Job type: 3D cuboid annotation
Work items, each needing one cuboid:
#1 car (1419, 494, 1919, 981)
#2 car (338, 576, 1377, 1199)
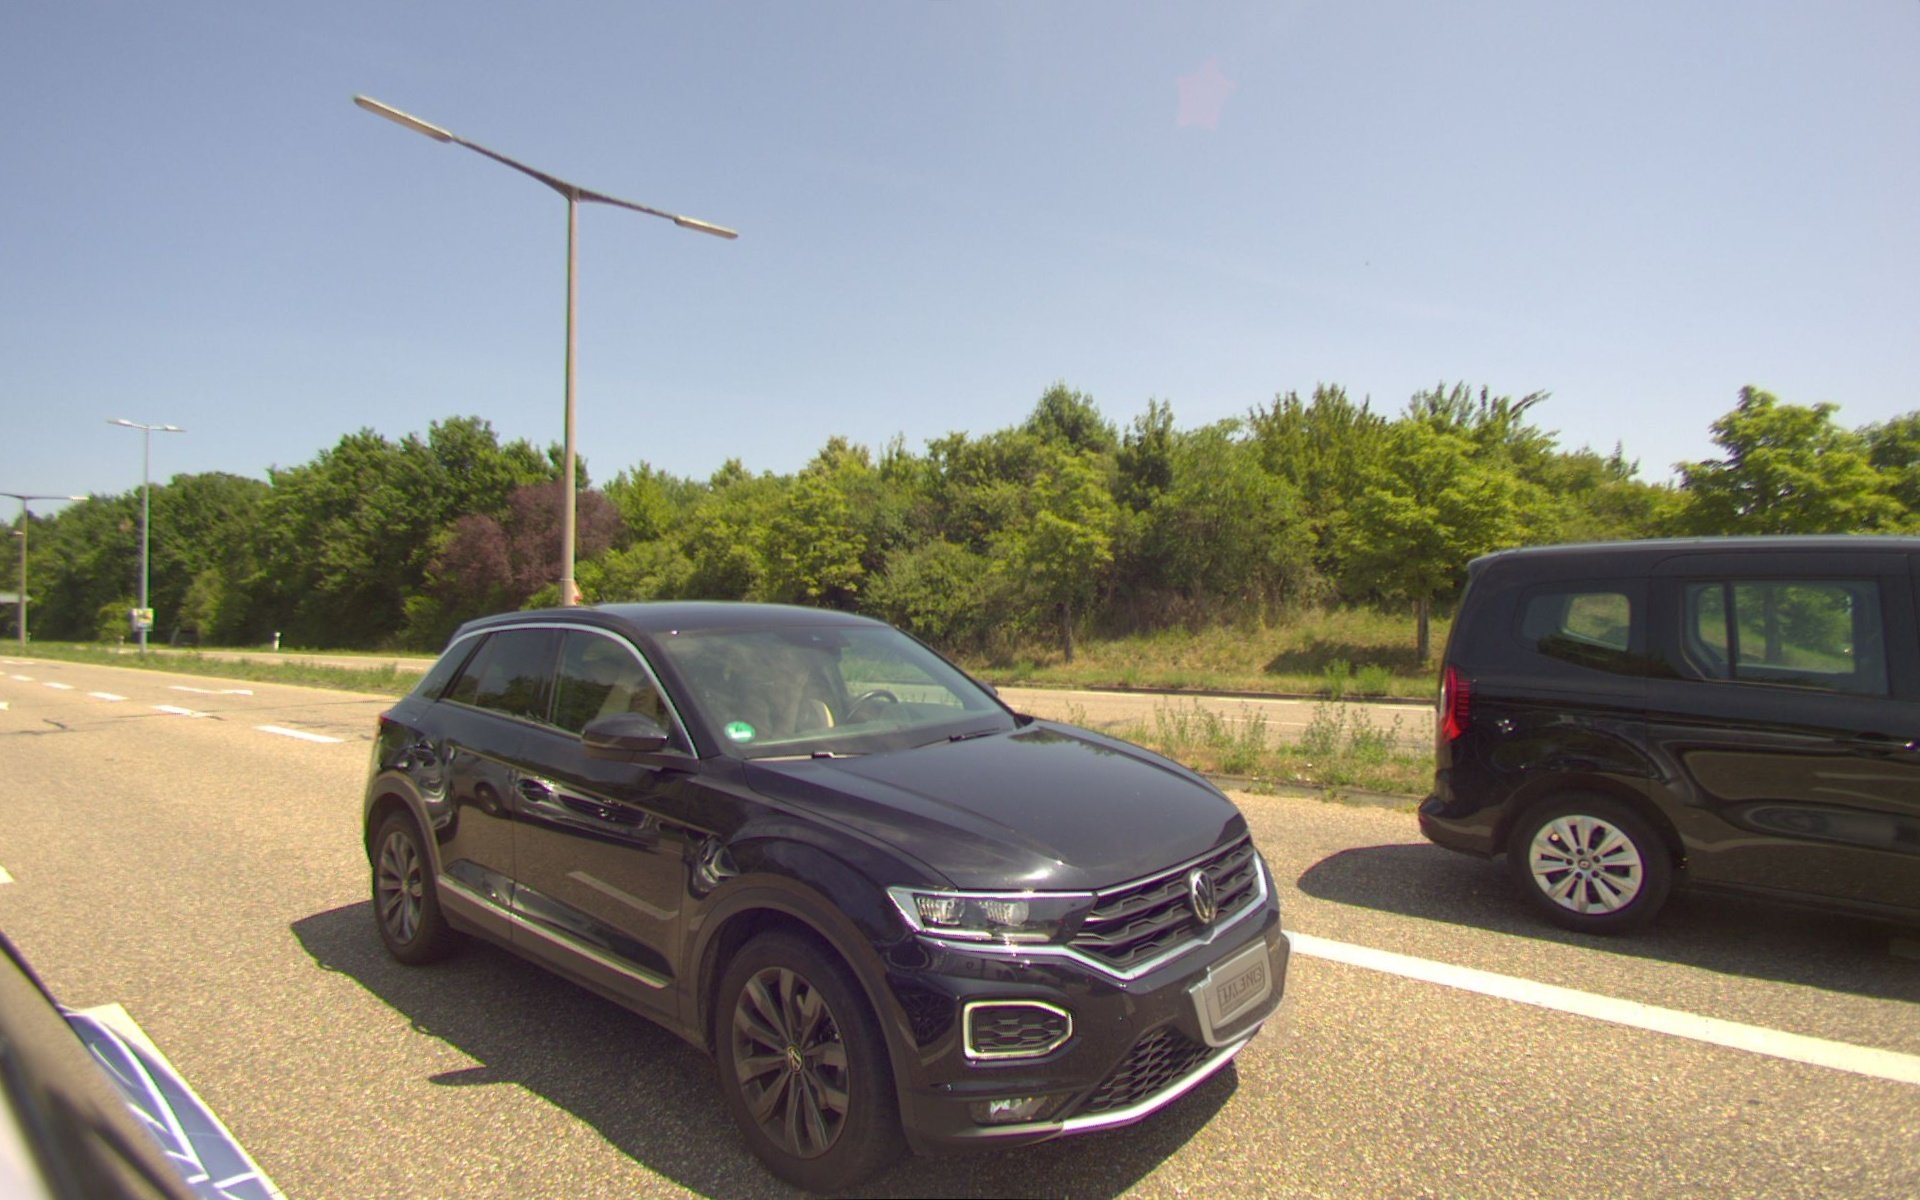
[{"bbox_3d":[4.464,0.523,4.249,4.317,1.840,1.714,-2,-2,39],"label":"car"},{"bbox_3d":[-0.730,0.728,3.871,3.969,1.523,1.716,-1,0,41],"label":"car"}]
